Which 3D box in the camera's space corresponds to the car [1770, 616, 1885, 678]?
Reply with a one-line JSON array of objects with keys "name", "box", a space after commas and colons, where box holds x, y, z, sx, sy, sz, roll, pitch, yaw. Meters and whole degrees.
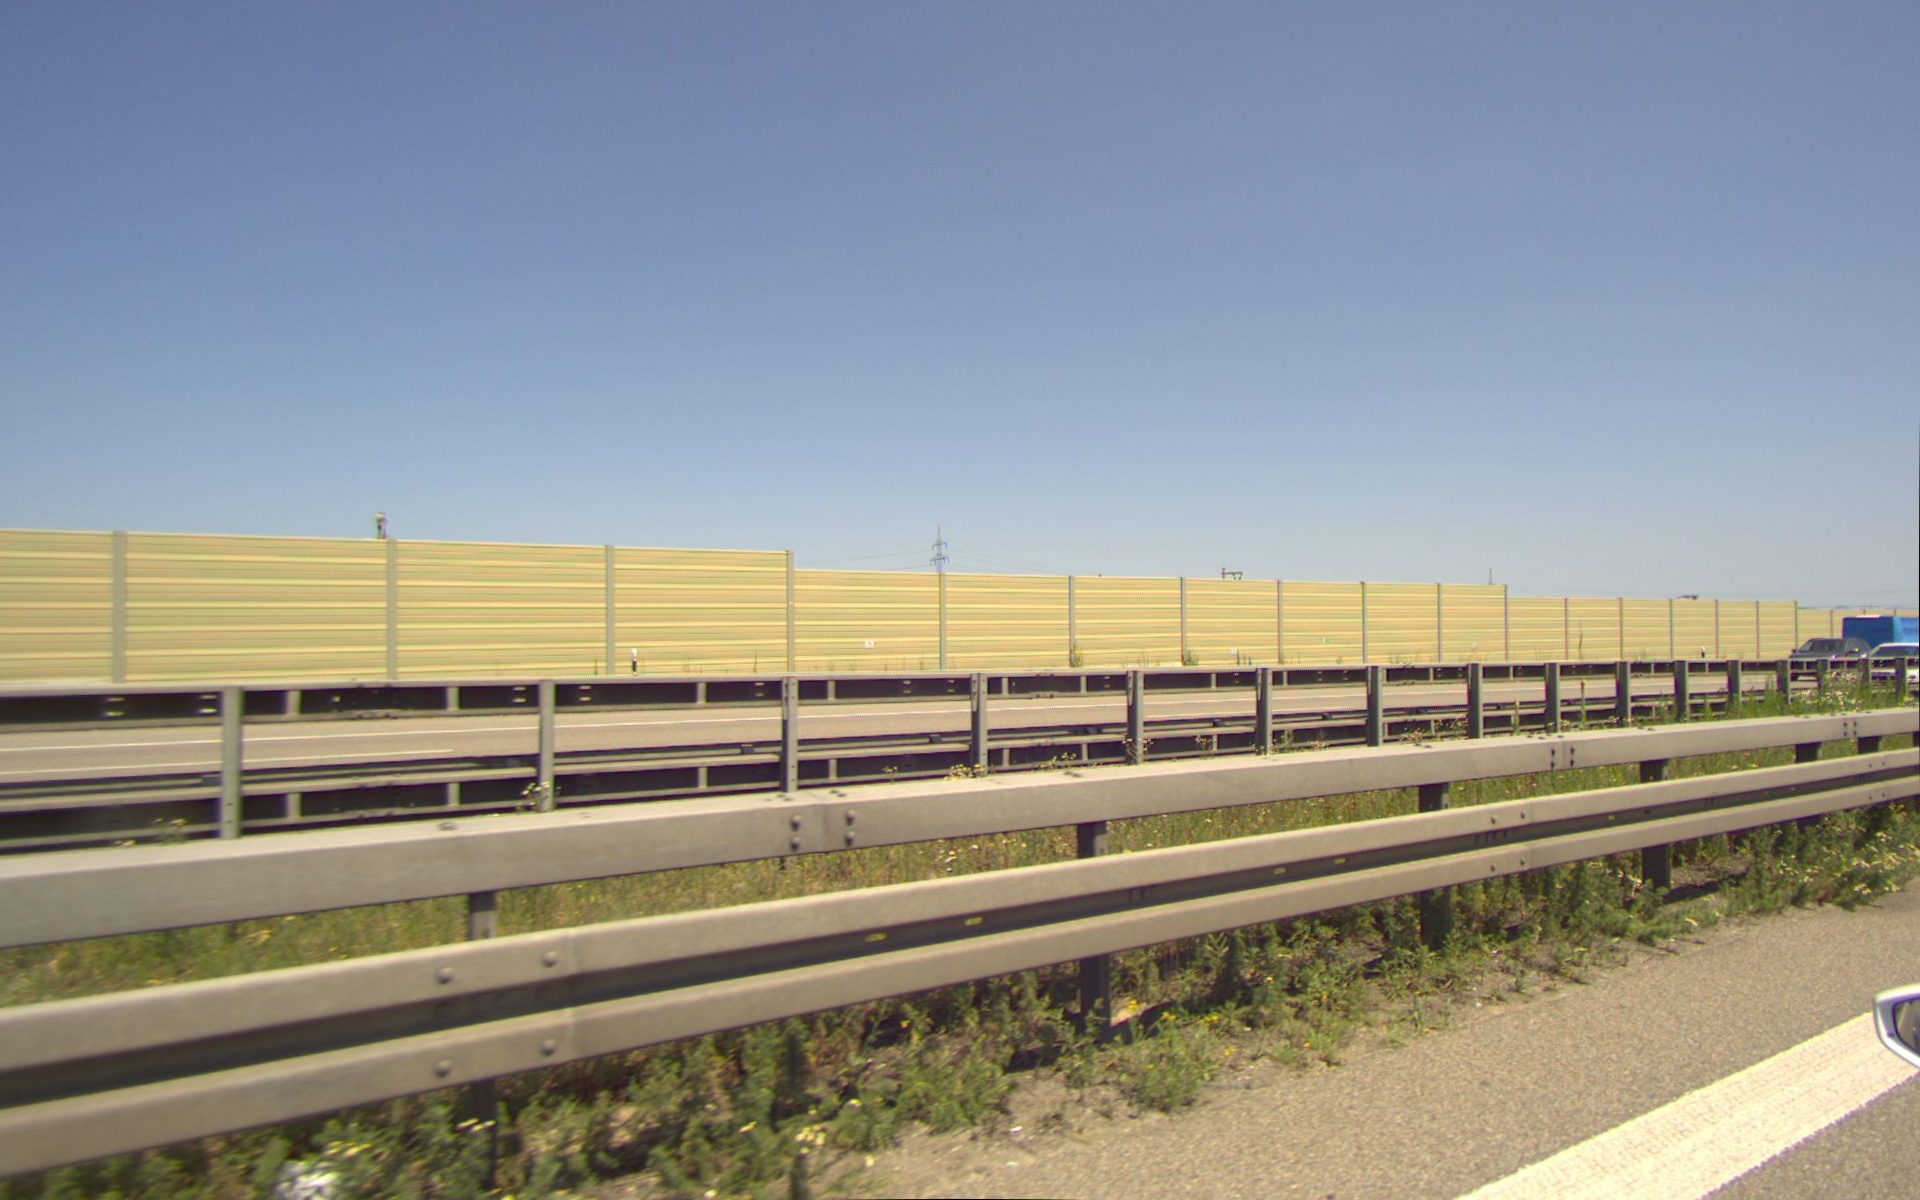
[{"name": "car", "box": [34.409, 1.828, 39.822, 5.040, 2.254, 1.983, 1, 0, -31]}]

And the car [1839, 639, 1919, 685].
[{"name": "car", "box": [31.589, 2.069, 33.654, 4.671, 1.449, 1.884, 2, -4, -31]}]

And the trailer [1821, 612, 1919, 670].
[{"name": "trailer", "box": [38.321, 1.710, 42.223, 4.157, 2.268, 1.983, 2, 0, -31]}]
